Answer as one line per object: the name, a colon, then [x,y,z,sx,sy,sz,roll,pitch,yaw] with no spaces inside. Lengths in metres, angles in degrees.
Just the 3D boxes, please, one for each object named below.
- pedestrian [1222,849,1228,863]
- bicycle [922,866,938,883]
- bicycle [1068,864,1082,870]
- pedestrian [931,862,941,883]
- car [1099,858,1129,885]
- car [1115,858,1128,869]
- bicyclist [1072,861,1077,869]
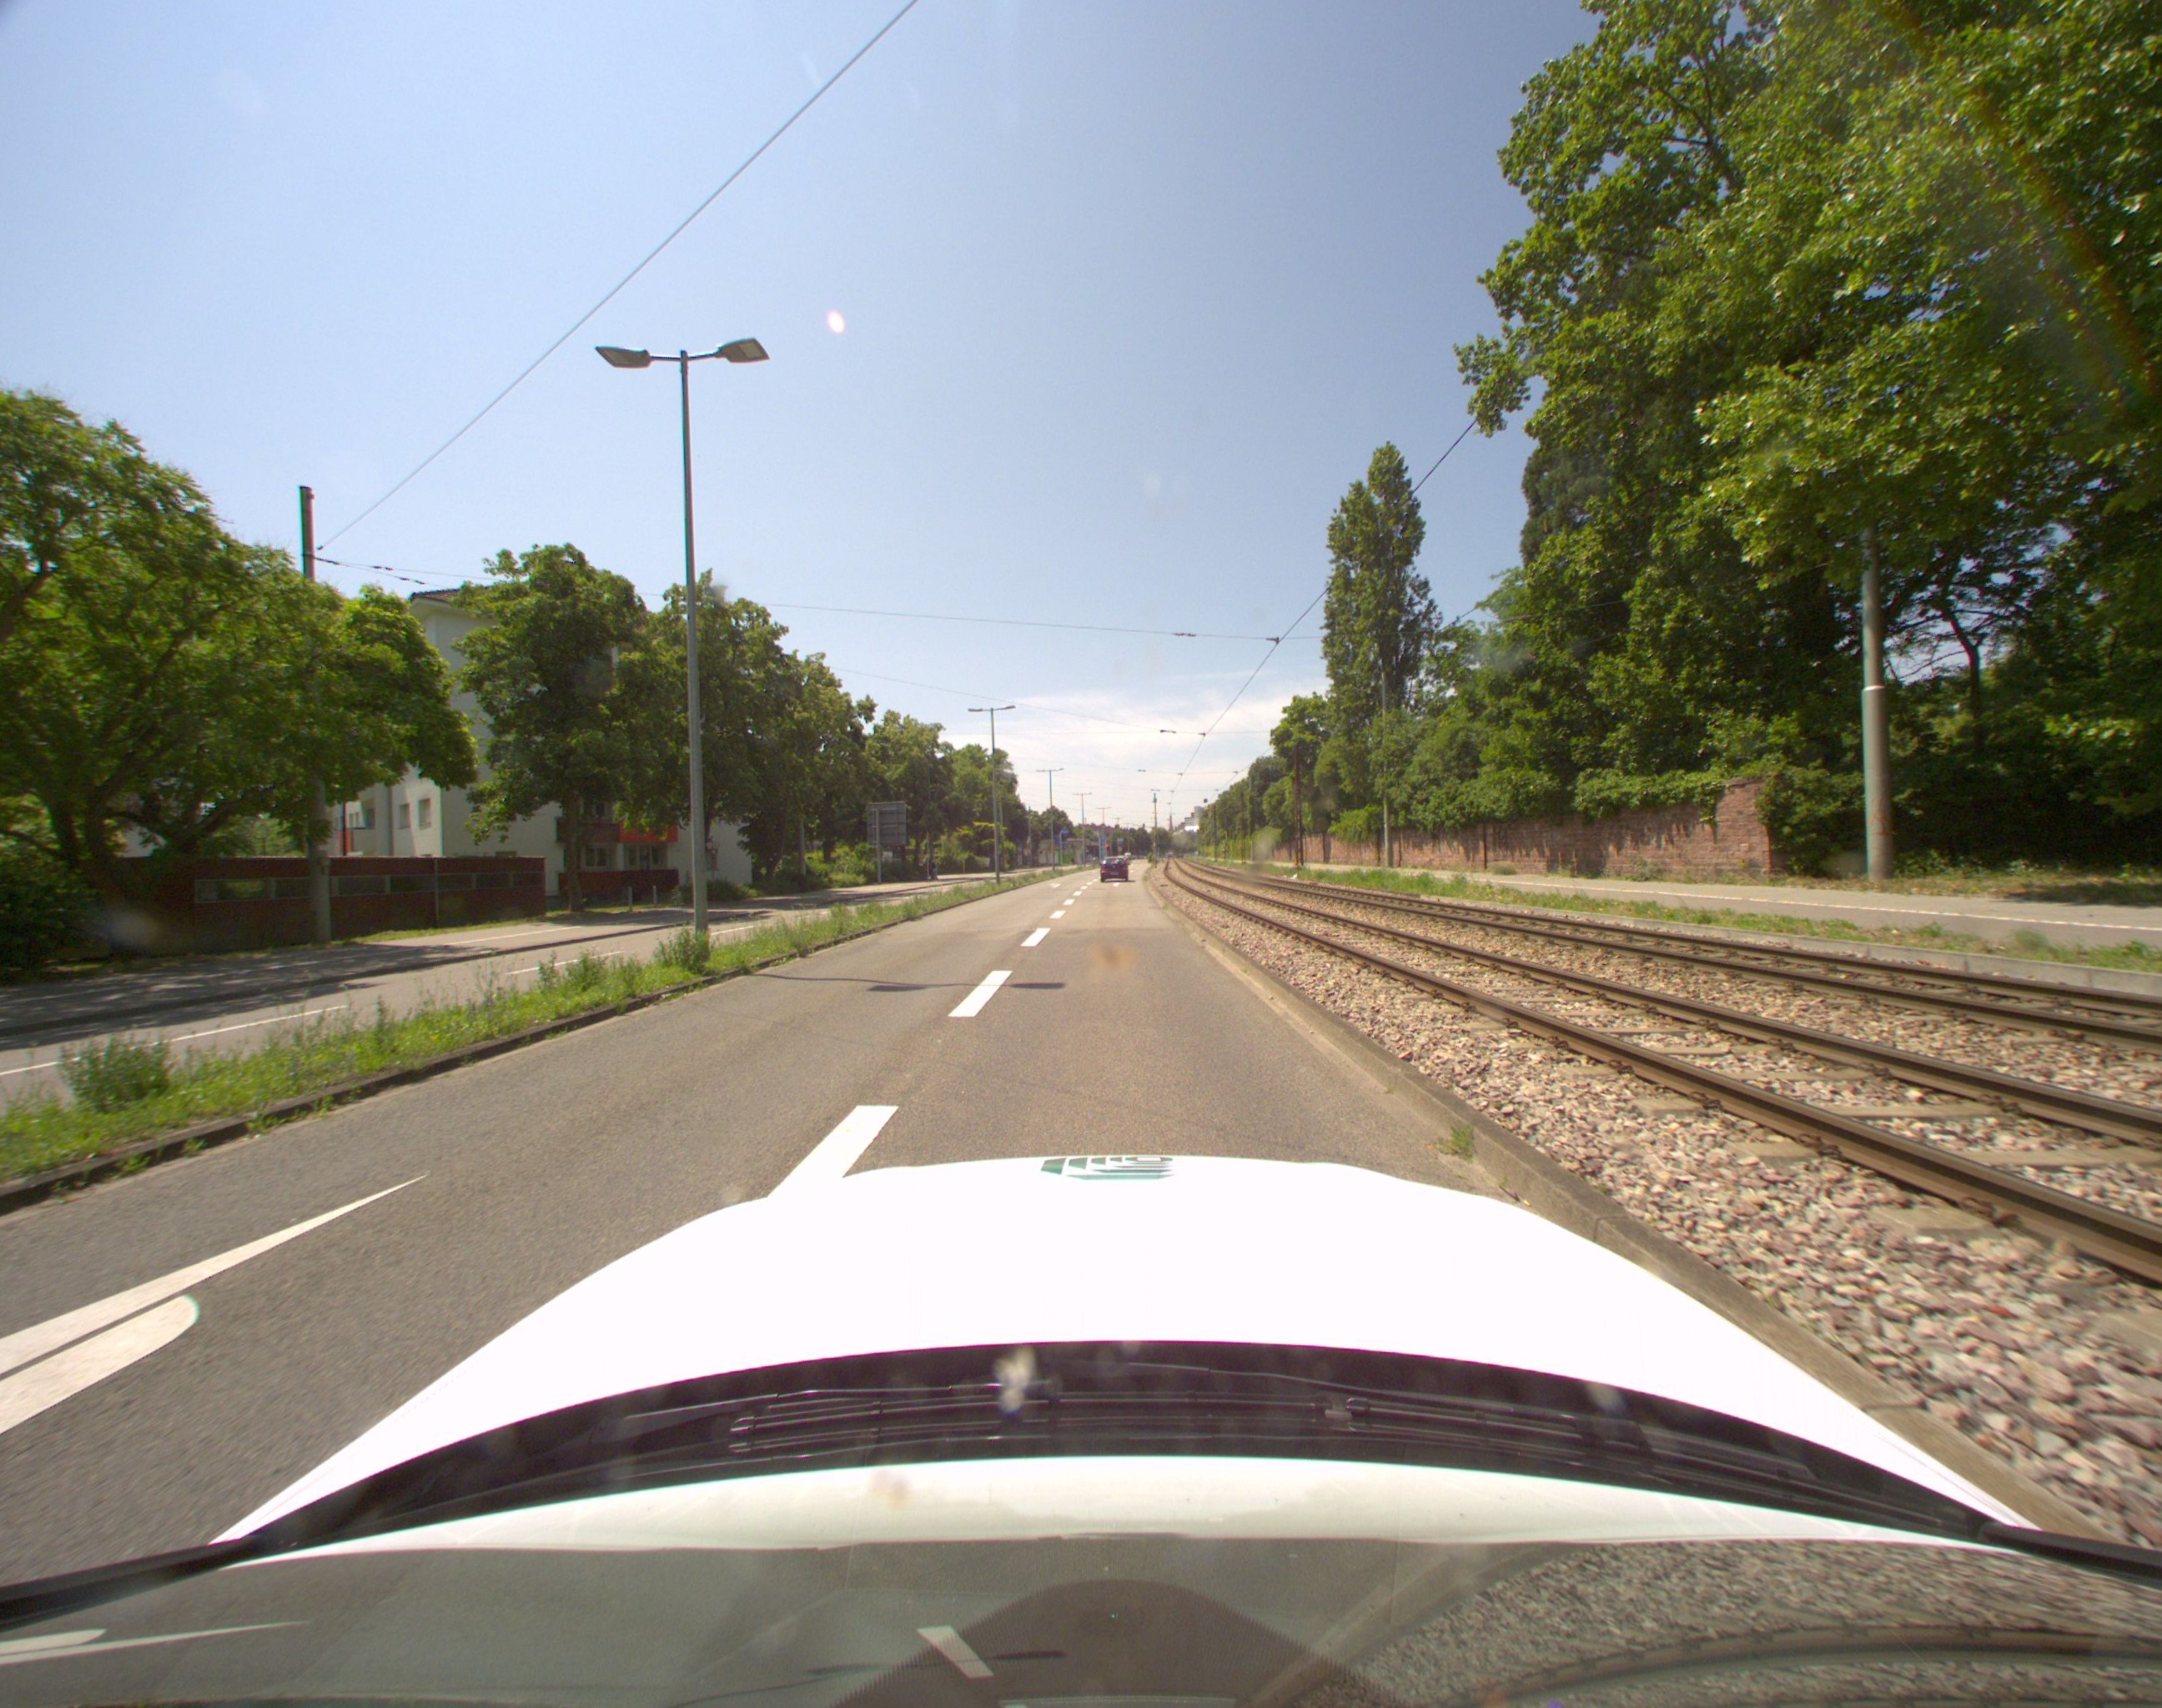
pedestrian: [18.204,0.226,102.925,0.658,1.726,0.817,-2,-1,5]
bicycle: [-12.966,1.762,69.843,0.640,1.328,1.581,-3,-1,18]
bicycle: [-1.206,2.550,156.114,2.550,1.038,1.084,-1,-1,-10]
pedestrian: [-12.408,1.569,69.656,0.545,1.718,0.606,-3,-1,18]
car: [1.963,1.026,48.289,1.696,1.477,3.718,-2,-2,3]
car: [5.972,1.381,120.058,1.697,1.480,3.717,0,0,1]
bicyclist: [-1.262,2.115,156.146,0.944,1.593,1.084,-1,-1,-9]
